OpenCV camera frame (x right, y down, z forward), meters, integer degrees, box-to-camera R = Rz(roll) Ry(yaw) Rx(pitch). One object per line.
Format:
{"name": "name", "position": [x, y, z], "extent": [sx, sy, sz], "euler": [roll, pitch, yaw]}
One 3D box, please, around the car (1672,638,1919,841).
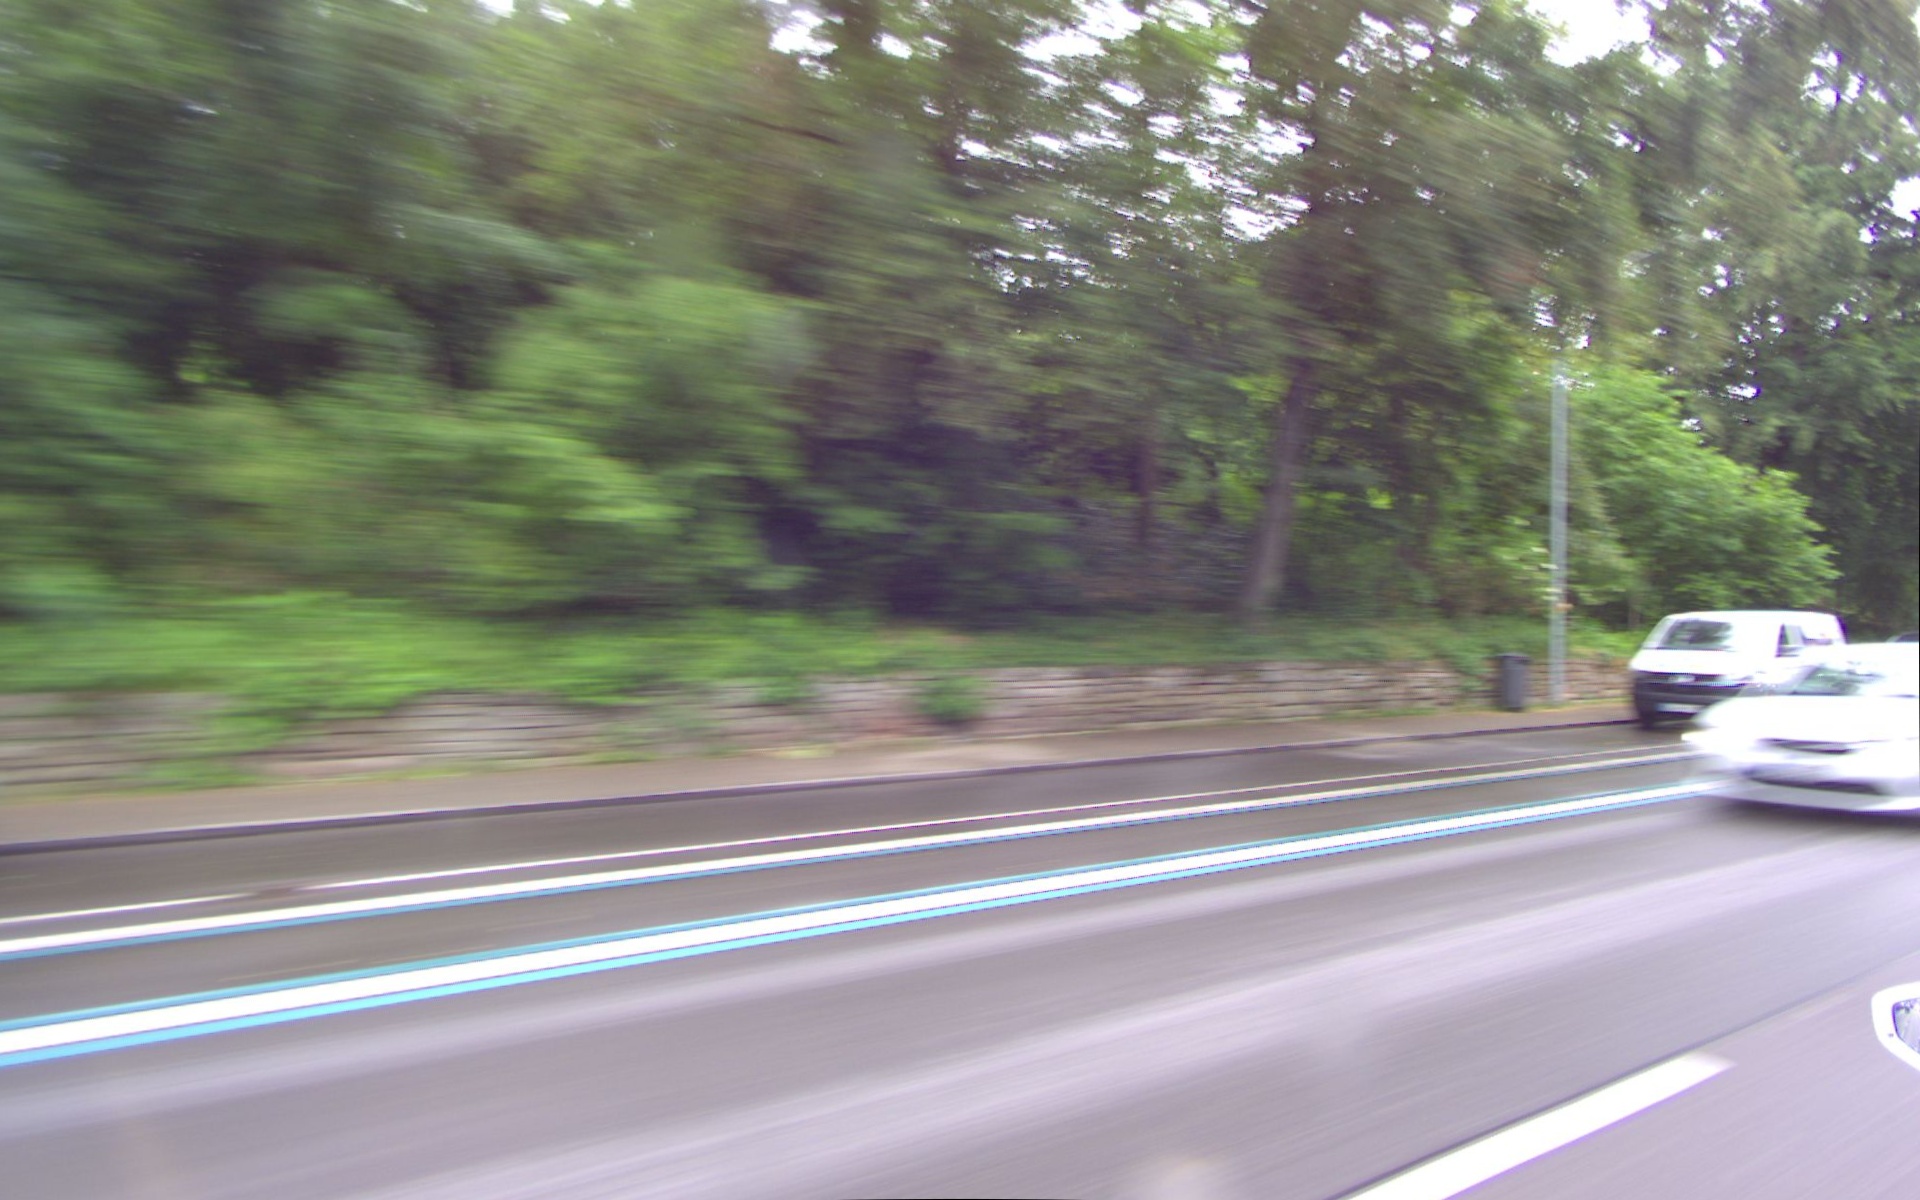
{"name": "car", "position": [8.394, 1.099, 9.031], "extent": [4.016, 1.485, 1.767], "euler": [1, -3, -31]}

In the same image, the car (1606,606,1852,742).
{"name": "car", "position": [13.371, 1.149, 17.370], "extent": [4.967, 2.031, 1.961], "euler": [1, 0, -35]}

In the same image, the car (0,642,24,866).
{"name": "car", "position": [-7.688, 0.978, 5.096], "extent": [3.979, 1.424, 1.683], "euler": [1, 0, -30]}

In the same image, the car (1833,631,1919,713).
{"name": "car", "position": [21.071, 1.493, 21.690], "extent": [4.725, 1.627, 2.000], "euler": [1, -2, -31]}
